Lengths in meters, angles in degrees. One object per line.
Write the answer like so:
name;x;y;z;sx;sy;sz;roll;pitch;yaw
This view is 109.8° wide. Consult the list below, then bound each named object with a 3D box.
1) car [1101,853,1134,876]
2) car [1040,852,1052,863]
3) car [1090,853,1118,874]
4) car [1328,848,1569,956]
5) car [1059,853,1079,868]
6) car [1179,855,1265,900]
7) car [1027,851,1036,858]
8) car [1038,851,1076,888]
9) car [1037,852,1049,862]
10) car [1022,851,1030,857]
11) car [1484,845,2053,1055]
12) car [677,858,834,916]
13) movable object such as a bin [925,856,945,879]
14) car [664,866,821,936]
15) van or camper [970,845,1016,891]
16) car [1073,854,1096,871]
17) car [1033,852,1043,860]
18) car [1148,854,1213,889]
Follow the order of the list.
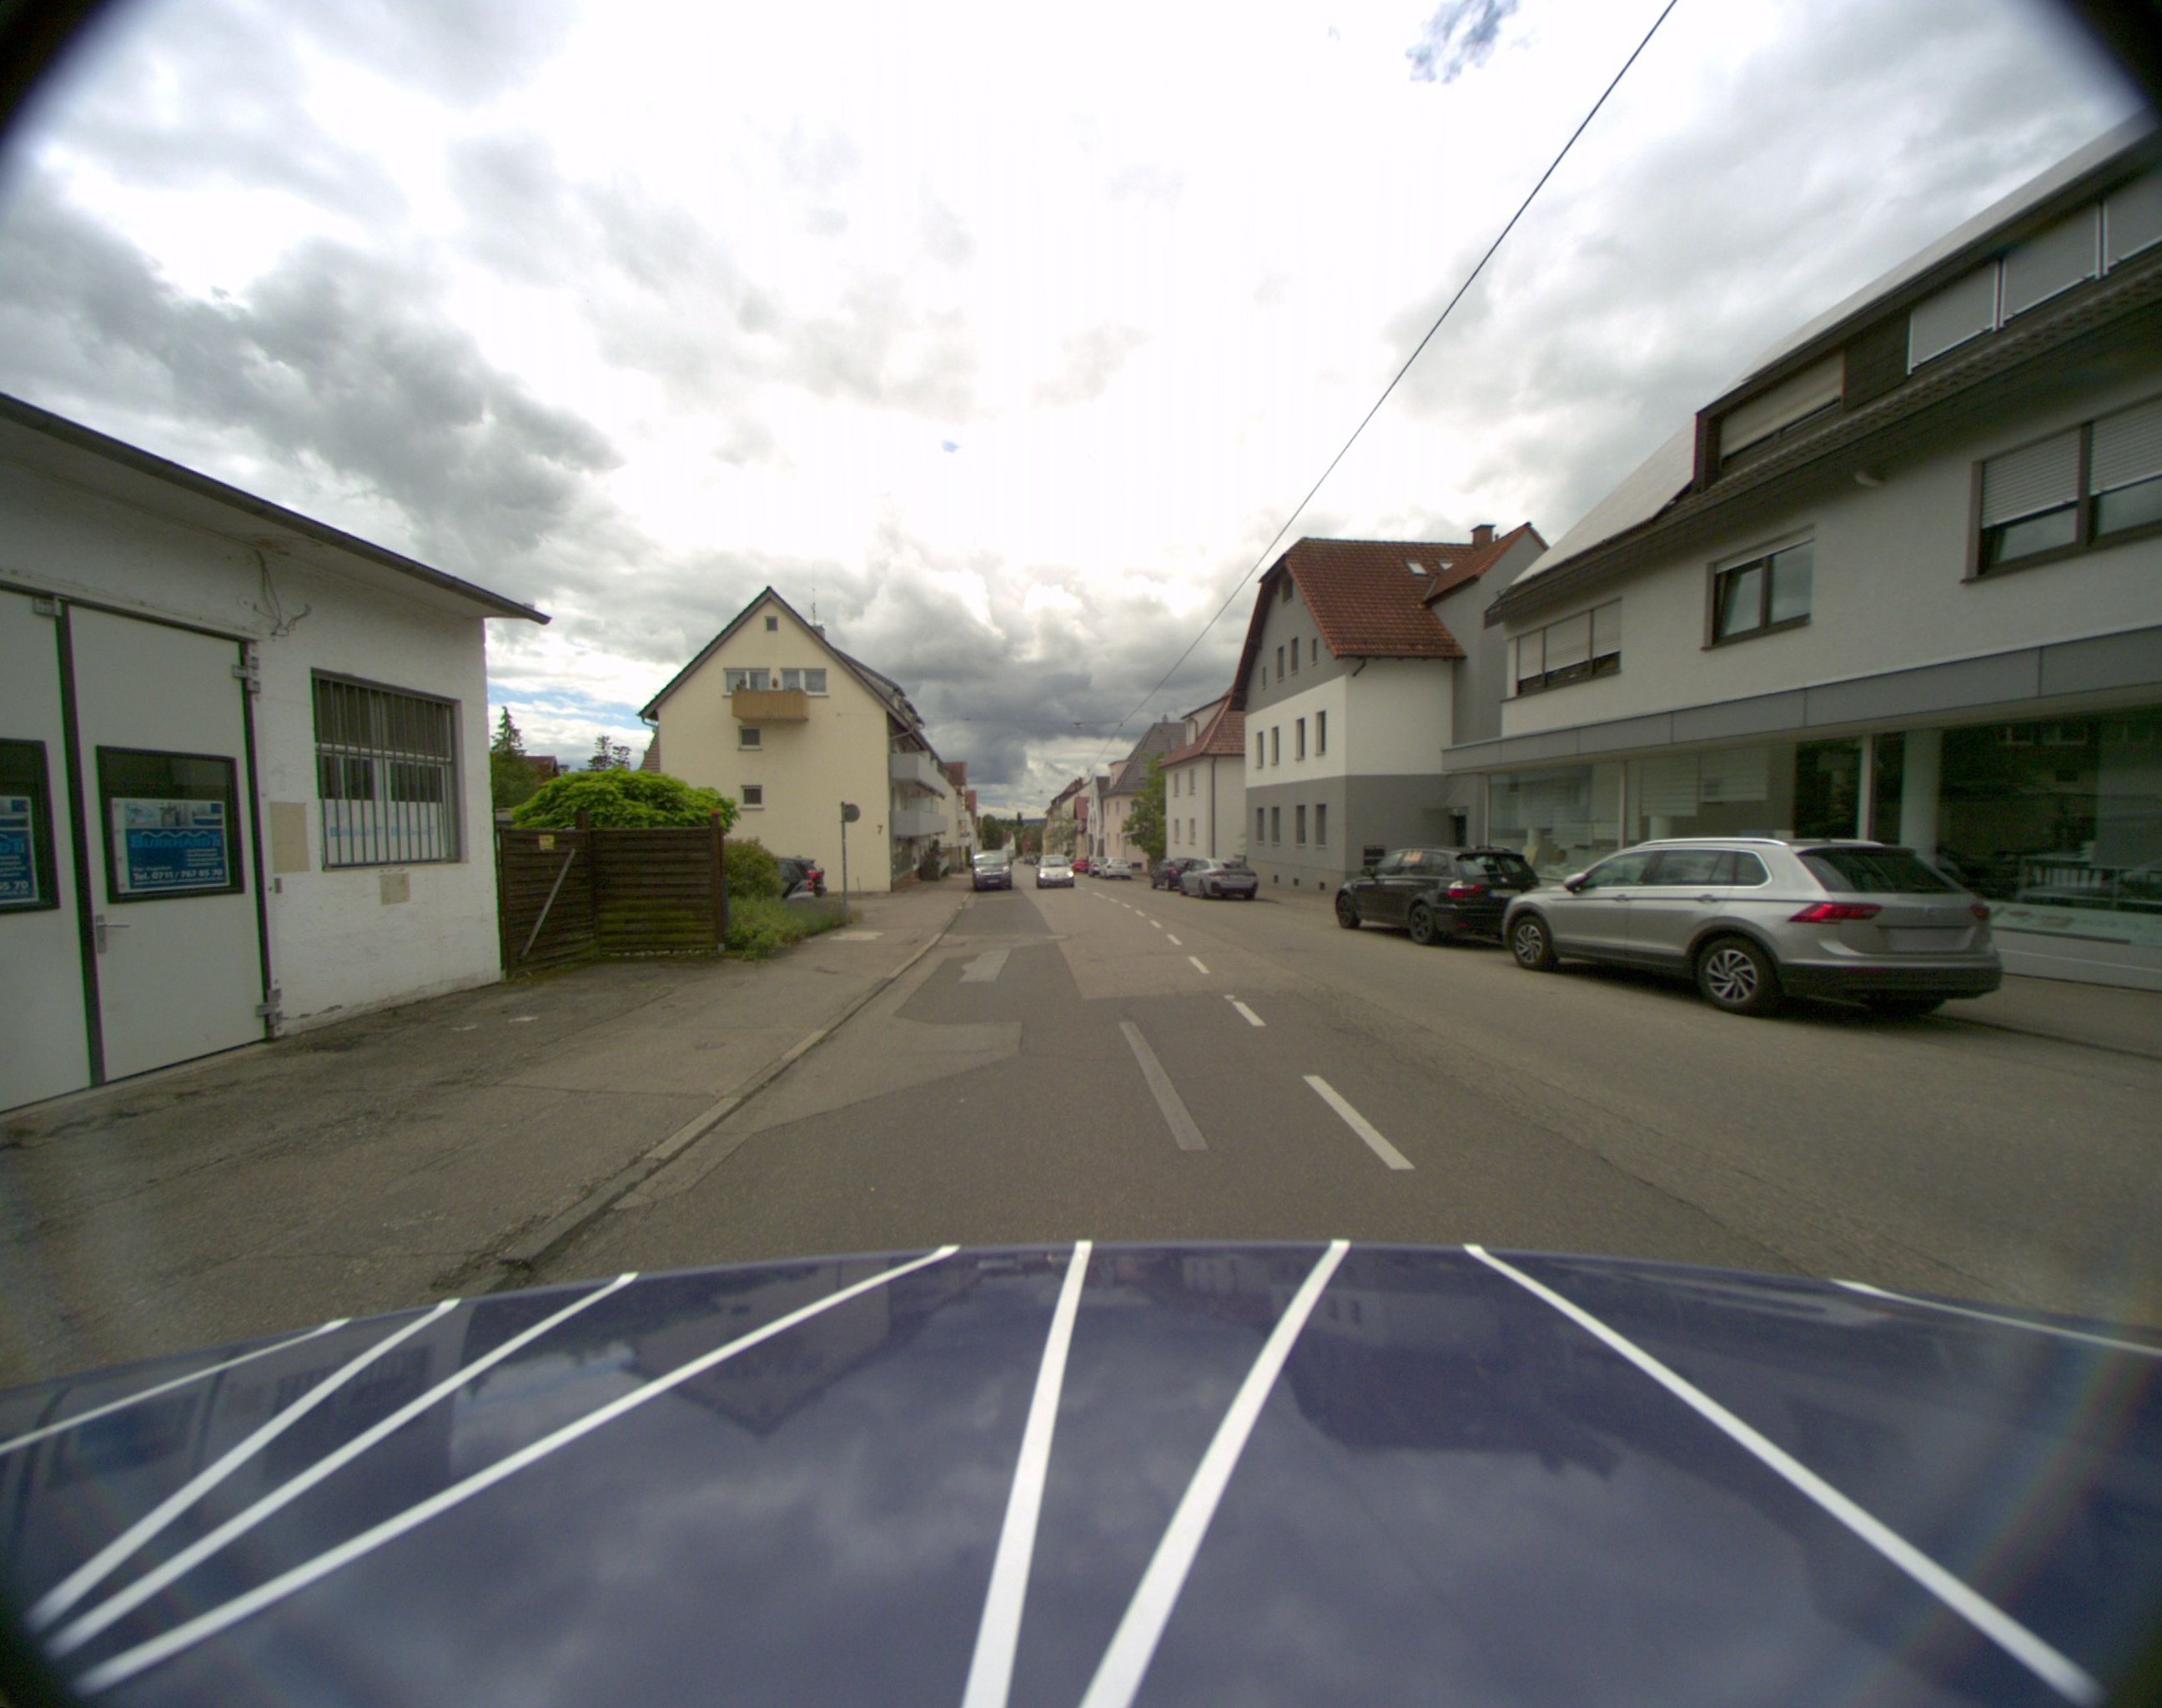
car;2.399;0.693;50.602;1.654;1.438;3.809;0;1;-6
car;-5.507;0.514;119.472;1.707;1.524;3.733;2;0;-7
car;1.663;0.688;55.492;1.654;1.438;3.772;0;1;-4
car;6.286;0.726;13.684;1.843;1.623;4.405;1;0;-6
car;-1.334;0.675;82.617;1.707;1.524;3.733;2;0;-7
car;4.994;0.799;27.576;1.843;1.437;4.465;1;0;-6
car;-10.774;0.165;165.734;1.707;1.524;3.733;2;0;-7
car;-1.227;0.712;37.339;1.722;1.587;3.998;-3;1;-3
car;-6.230;0.476;125.123;1.707;1.524;3.733;2;0;-7
car;-14.410;0.066;198.802;1.707;1.524;3.733;2;0;-7
car;6.586;0.738;8.149;1.843;1.623;4.405;0;0;-6
car;-9.747;0.944;23.091;4.127;1.644;1.902;0;0;-15
movable object such as a bin;-9.548;0.866;49.728;1.083;1.428;1.259;-3;1;-6
car;-8.195;1.079;18.505;3.328;1.510;1.700;0;0;-26
van or camper;-4.424;0.636;37.985;2.000;2.002;5.060;-4;1;-7
car;0.297;0.747;70.110;1.707;1.402;3.733;2;0;-7
car;-8.154;0.323;144.858;1.707;1.524;3.733;2;0;-7
car;4.418;0.747;34.210;1.843;1.437;3.996;1;0;-9
